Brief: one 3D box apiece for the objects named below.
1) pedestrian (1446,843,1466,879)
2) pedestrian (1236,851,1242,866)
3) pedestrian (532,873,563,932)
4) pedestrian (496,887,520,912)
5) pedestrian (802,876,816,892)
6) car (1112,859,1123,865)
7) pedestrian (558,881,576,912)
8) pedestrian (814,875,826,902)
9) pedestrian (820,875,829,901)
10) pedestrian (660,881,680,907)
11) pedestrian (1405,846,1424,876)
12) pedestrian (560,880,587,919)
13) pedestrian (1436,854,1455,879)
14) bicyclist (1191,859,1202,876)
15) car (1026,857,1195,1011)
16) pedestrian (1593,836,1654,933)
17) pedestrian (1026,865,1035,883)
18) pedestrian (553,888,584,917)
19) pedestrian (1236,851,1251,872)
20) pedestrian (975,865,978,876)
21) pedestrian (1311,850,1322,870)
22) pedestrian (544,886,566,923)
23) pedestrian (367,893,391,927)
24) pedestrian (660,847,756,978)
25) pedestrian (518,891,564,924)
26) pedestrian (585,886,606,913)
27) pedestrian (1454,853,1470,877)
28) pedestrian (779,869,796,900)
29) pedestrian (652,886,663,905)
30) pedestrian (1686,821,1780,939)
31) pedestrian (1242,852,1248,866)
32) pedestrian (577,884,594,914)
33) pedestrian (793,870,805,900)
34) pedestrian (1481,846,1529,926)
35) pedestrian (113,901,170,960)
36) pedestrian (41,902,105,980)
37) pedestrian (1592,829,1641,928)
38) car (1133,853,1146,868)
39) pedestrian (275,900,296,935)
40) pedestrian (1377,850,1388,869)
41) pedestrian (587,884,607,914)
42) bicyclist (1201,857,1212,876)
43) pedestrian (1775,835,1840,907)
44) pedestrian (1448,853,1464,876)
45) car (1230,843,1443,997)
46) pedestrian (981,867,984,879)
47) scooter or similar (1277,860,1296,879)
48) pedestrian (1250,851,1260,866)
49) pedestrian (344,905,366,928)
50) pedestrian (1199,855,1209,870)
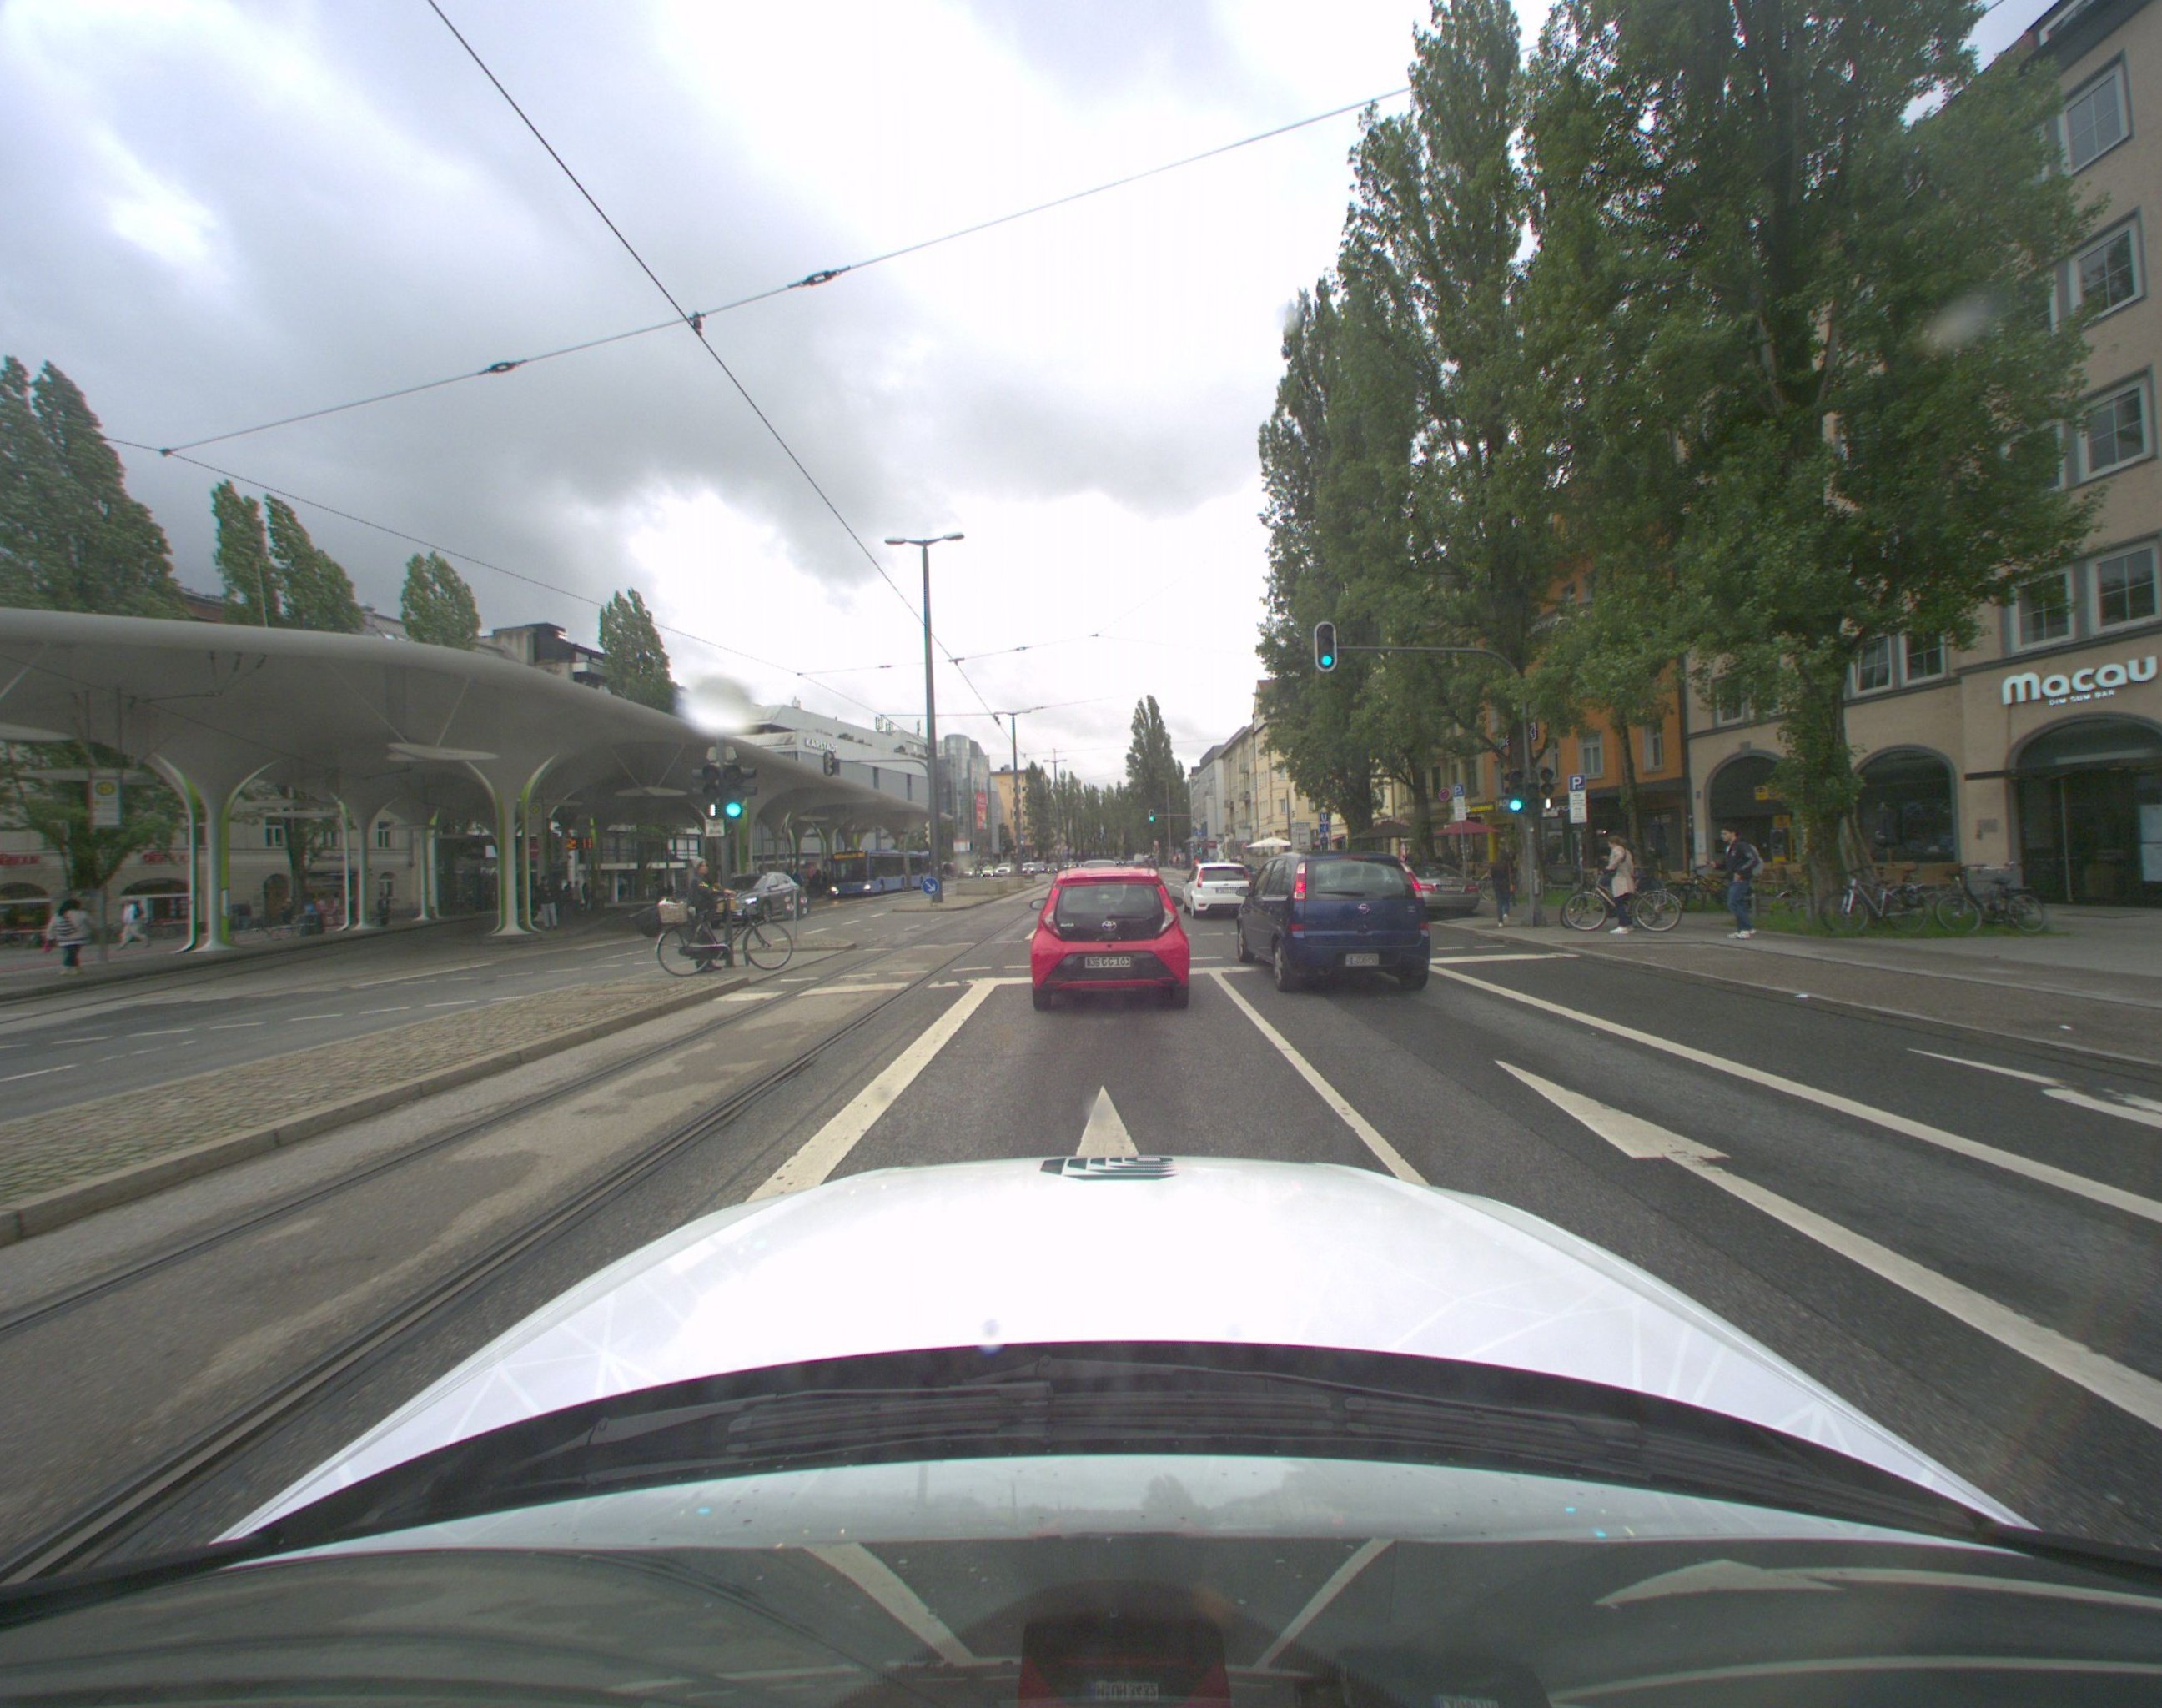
[{"bbox_3d":[18.532,0.329,40.229,0.598,1.739,0.666,-2,-1,2],"label":"pedestrian"},{"bbox_3d":[18.375,0.548,94.711,0.560,1.670,0.565,-2,3,24],"label":"pedestrian"},{"bbox_3d":[-17.388,1.575,26.526,0.670,1.839,0.800,-2,-1,-44],"label":"pedestrian"},{"bbox_3d":[-42.135,3.343,59.895,0.921,1.773,1.004,-3,-1,21],"label":"pedestrian"},{"bbox_3d":[-23.157,2.542,69.345,0.843,1.317,0.869,-1,-1,-42],"label":"pedestrian"},{"bbox_3d":[9.950,2.173,222.767,1.978,1.728,3.933,-3,-1,15],"label":"car"},{"bbox_3d":[-29.237,2.428,46.361,0.691,1.696,0.652,-3,-1,42],"label":"pedestrian"},{"bbox_3d":[-17.105,2.238,53.296,0.569,1.734,0.505,-3,-1,-4],"label":"pedestrian"},{"bbox_3d":[-16.063,2.145,50.927,0.391,1.605,0.390,-2,-1,-4],"label":"pedestrian"},{"bbox_3d":[-29.171,2.822,57.756,0.867,1.730,0.896,-3,-1,3],"label":"pedestrian"},{"bbox_3d":[18.680,0.399,45.638,0.707,1.633,0.786,-2,-1,2],"label":"pedestrian"},{"bbox_3d":[-23.338,2.078,37.468,0.809,1.728,0.669,-2,-1,-15],"label":"pedestrian"},{"bbox_3d":[17.960,0.603,40.143,0.598,1.222,0.666,-2,-1,2],"label":"pedestrian"},{"bbox_3d":[11.082,1.294,78.152,0.613,1.657,1.248,-3,0,-7],"label":"bicyclist"},{"bbox_3d":[0.364,0.781,9.437,1.598,1.461,3.132,-1,0,3],"label":"car"},{"bbox_3d":[9.580,0.518,14.394,0.760,1.638,0.693,-2,0,-42],"label":"pedestrian"},{"bbox_3d":[-4.515,1.770,72.915,0.466,1.618,0.515,-2,-1,-45],"label":"pedestrian"},{"bbox_3d":[-25.458,2.402,40.466,0.957,1.370,0.843,-2,-1,8],"label":"pedestrian"},{"bbox_3d":[13.705,0.616,68.567,0.882,1.743,0.854,-2,-1,-15],"label":"pedestrian"},{"bbox_3d":[-15.483,2.450,121.182,0.353,1.567,0.269,-3,-1,-10],"label":"pedestrian"},{"bbox_3d":[18.879,0.478,65.206,0.612,1.633,0.678,-2,-1,2],"label":"pedestrian"},{"bbox_3d":[-23.106,2.218,35.795,0.593,1.545,0.634,-2,-1,-16],"label":"pedestrian"},{"bbox_3d":[-35.125,2.805,40.731,0.600,1.647,0.640,-3,-1,-6],"label":"pedestrian"},{"bbox_3d":[-5.401,0.821,11.820,0.851,1.812,0.901,-2,-2,17],"label":"pedestrian"},{"bbox_3d":[-21.536,2.131,32.497,0.803,1.230,1.277,-3,-1,20],"label":"pedestrian"},{"bbox_3d":[-28.896,2.716,48.483,0.742,1.508,0.894,-3,-1,-5],"label":"pedestrian"},{"bbox_3d":[21.046,0.589,45.004,0.581,1.280,0.583,-2,-1,1],"label":"pedestrian"},{"bbox_3d":[-16.729,1.737,46.463,0.713,1.722,0.879,-2,-1,-9],"label":"pedestrian"},{"bbox_3d":[-29.041,2.863,55.835,0.577,1.265,0.514,-2,-1,-38],"label":"pedestrian"},{"bbox_3d":[10.239,0.393,12.811,0.876,1.801,0.756,1,0,1],"label":"pedestrian"},{"bbox_3d":[19.053,0.544,94.786,0.556,1.609,0.570,-3,2,15],"label":"pedestrian"},{"bbox_3d":[-27.070,2.455,44.492,0.664,1.564,0.637,-2,-1,-24],"label":"pedestrian"},{"bbox_3d":[-16.719,1.853,48.255,0.566,1.743,0.752,-3,-1,-16],"label":"pedestrian"},{"bbox_3d":[8.652,0.640,16.602,0.752,1.562,0.767,-2,0,32],"label":"pedestrian"},{"bbox_3d":[-34.309,2.780,29.751,0.993,2.014,1.032,-3,-1,17],"label":"pedestrian"},{"bbox_3d":[-22.228,1.899,17.978,0.738,1.609,0.845,-3,-1,40],"label":"pedestrian"},{"bbox_3d":[9.890,0.442,15.034,0.692,1.780,0.655,-2,0,35],"label":"pedestrian"},{"bbox_3d":[11.028,1.242,152.967,2.098,2.718,4.806,-3,0,2],"label":"car"},{"bbox_3d":[-42.499,3.371,43.510,0.552,1.814,0.557,-3,-1,13],"label":"pedestrian"},{"bbox_3d":[21.490,0.414,58.046,0.493,1.332,0.552,-2,-1,2],"label":"pedestrian"},{"bbox_3d":[-27.466,2.541,46.203,0.643,1.618,0.701,-3,-1,5],"label":"pedestrian"},{"bbox_3d":[12.645,1.244,82.125,0.762,1.870,1.129,-3,0,-10],"label":"bicyclist"},{"bbox_3d":[16.805,0.383,18.860,0.839,1.602,0.827,-3,-1,22],"label":"pedestrian"},{"bbox_3d":[21.090,0.595,45.842,0.581,1.280,0.583,-2,-1,1],"label":"pedestrian"},{"bbox_3d":[3.044,0.713,10.461,1.696,1.589,3.558,-2,0,2],"label":"car"},{"bbox_3d":[-14.680,2.873,121.206,0.445,1.760,0.354,-2,-1,-9],"label":"pedestrian"},{"bbox_3d":[12.195,0.914,48.376,0.773,1.075,1.256,-2,-1,0],"label":"scooter or similar"},{"bbox_3d":[20.901,0.524,97.770,0.930,1.755,1.066,-3,-1,2],"label":"pedestrian"},{"bbox_3d":[-35.430,3.055,39.737,0.516,1.084,0.577,-3,-1,-6],"label":"pedestrian"},{"bbox_3d":[14.372,1.036,94.955,0.826,1.691,0.825,-3,-1,39],"label":"pedestrian"}]
